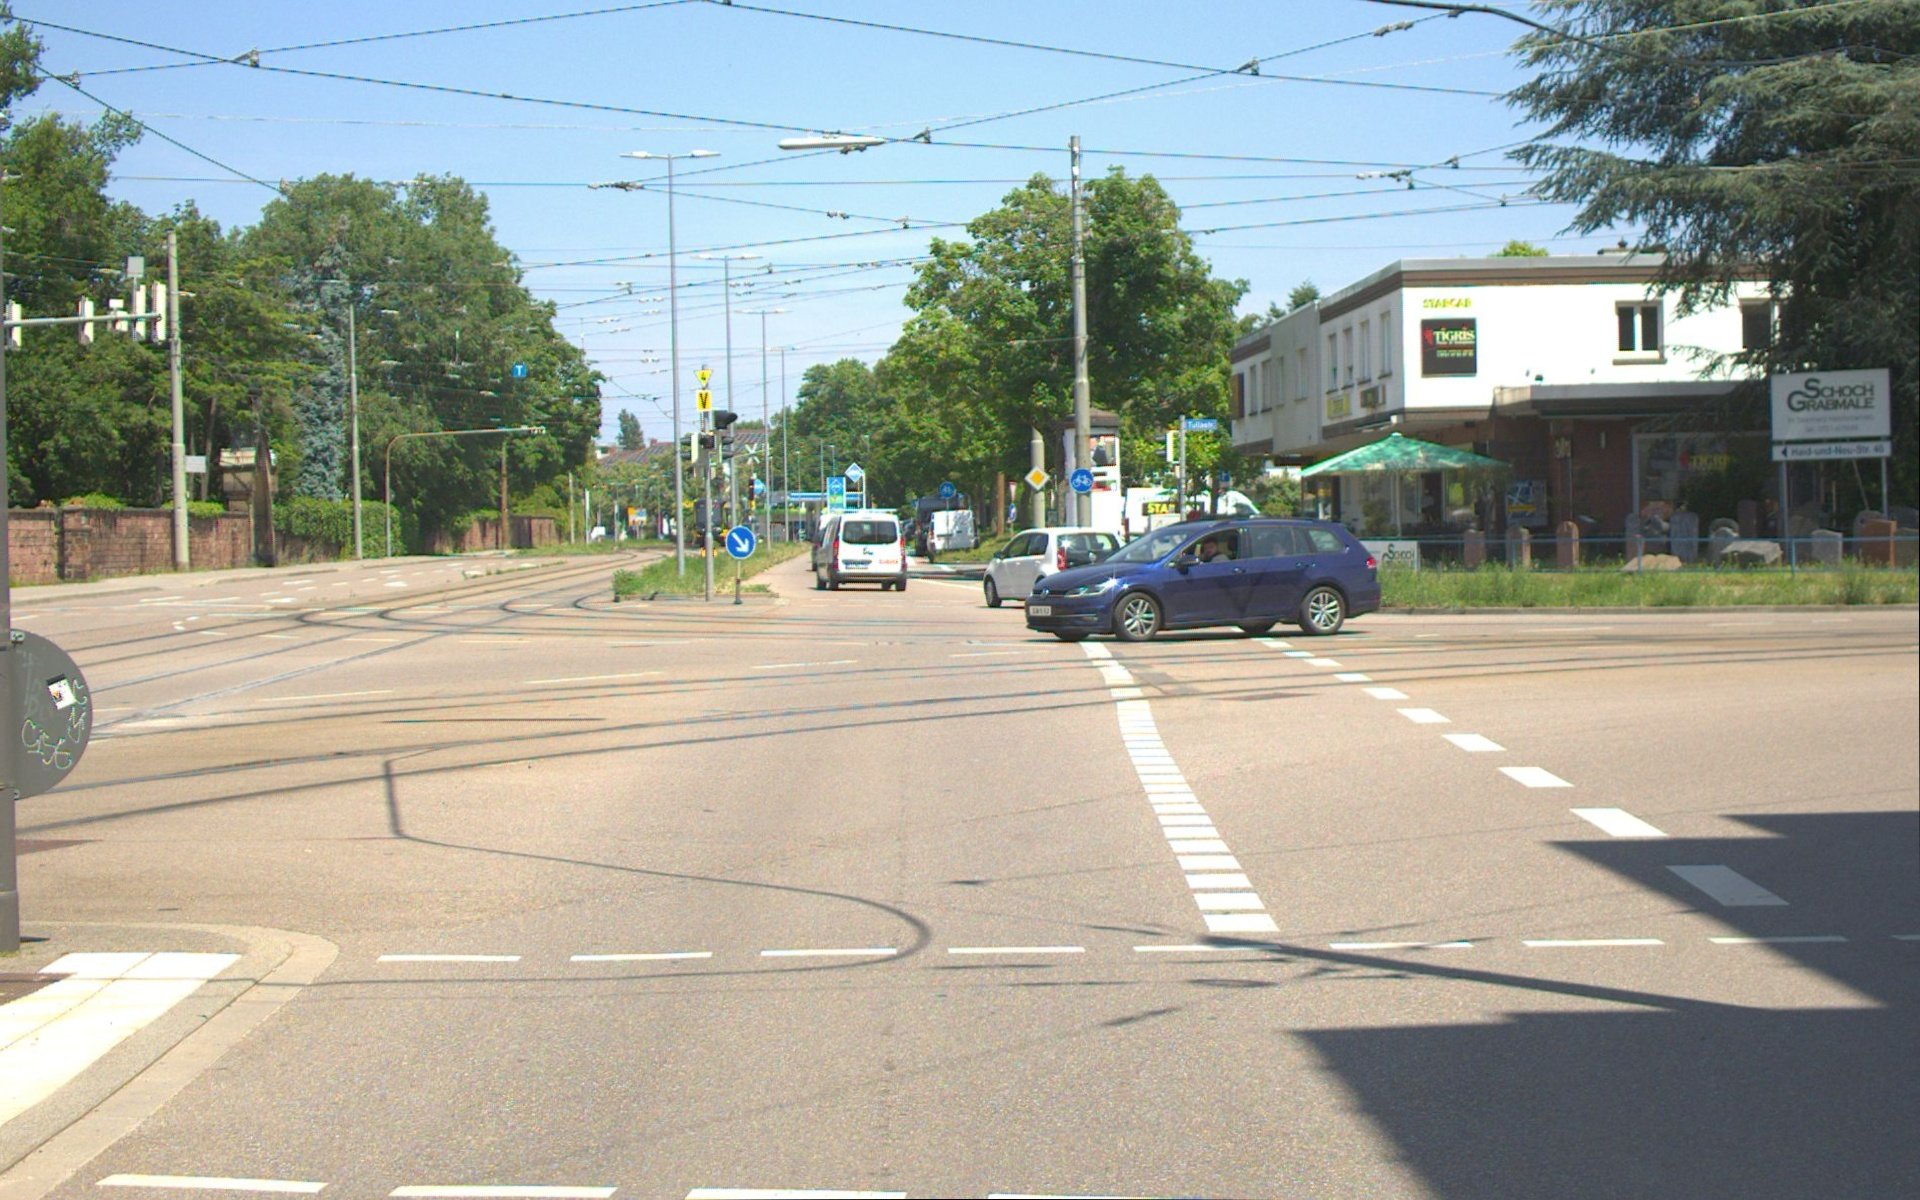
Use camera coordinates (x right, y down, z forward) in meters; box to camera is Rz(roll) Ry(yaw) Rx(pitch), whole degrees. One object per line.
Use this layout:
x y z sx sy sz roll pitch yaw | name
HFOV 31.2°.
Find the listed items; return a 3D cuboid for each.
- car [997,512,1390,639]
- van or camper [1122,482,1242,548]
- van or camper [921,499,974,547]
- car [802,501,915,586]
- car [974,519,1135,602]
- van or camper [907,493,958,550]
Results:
2.870 -0.325 42.149 4.463 1.437 1.863 -1 1 -26 | car
9.262 -3.542 143.463 4.756 2.662 2.136 -1 1 -3 | van or camper
-0.488 -2.918 130.446 1.922 1.766 4.000 -1 1 -1 | van or camper
-2.359 -1.321 78.959 1.993 1.853 4.002 -1 2 -11 | car
1.683 -0.733 62.139 1.670 1.430 3.475 -1 1 -21 | car
-1.244 -3.504 152.910 1.993 2.456 4.001 -1 1 -4 | van or camper
